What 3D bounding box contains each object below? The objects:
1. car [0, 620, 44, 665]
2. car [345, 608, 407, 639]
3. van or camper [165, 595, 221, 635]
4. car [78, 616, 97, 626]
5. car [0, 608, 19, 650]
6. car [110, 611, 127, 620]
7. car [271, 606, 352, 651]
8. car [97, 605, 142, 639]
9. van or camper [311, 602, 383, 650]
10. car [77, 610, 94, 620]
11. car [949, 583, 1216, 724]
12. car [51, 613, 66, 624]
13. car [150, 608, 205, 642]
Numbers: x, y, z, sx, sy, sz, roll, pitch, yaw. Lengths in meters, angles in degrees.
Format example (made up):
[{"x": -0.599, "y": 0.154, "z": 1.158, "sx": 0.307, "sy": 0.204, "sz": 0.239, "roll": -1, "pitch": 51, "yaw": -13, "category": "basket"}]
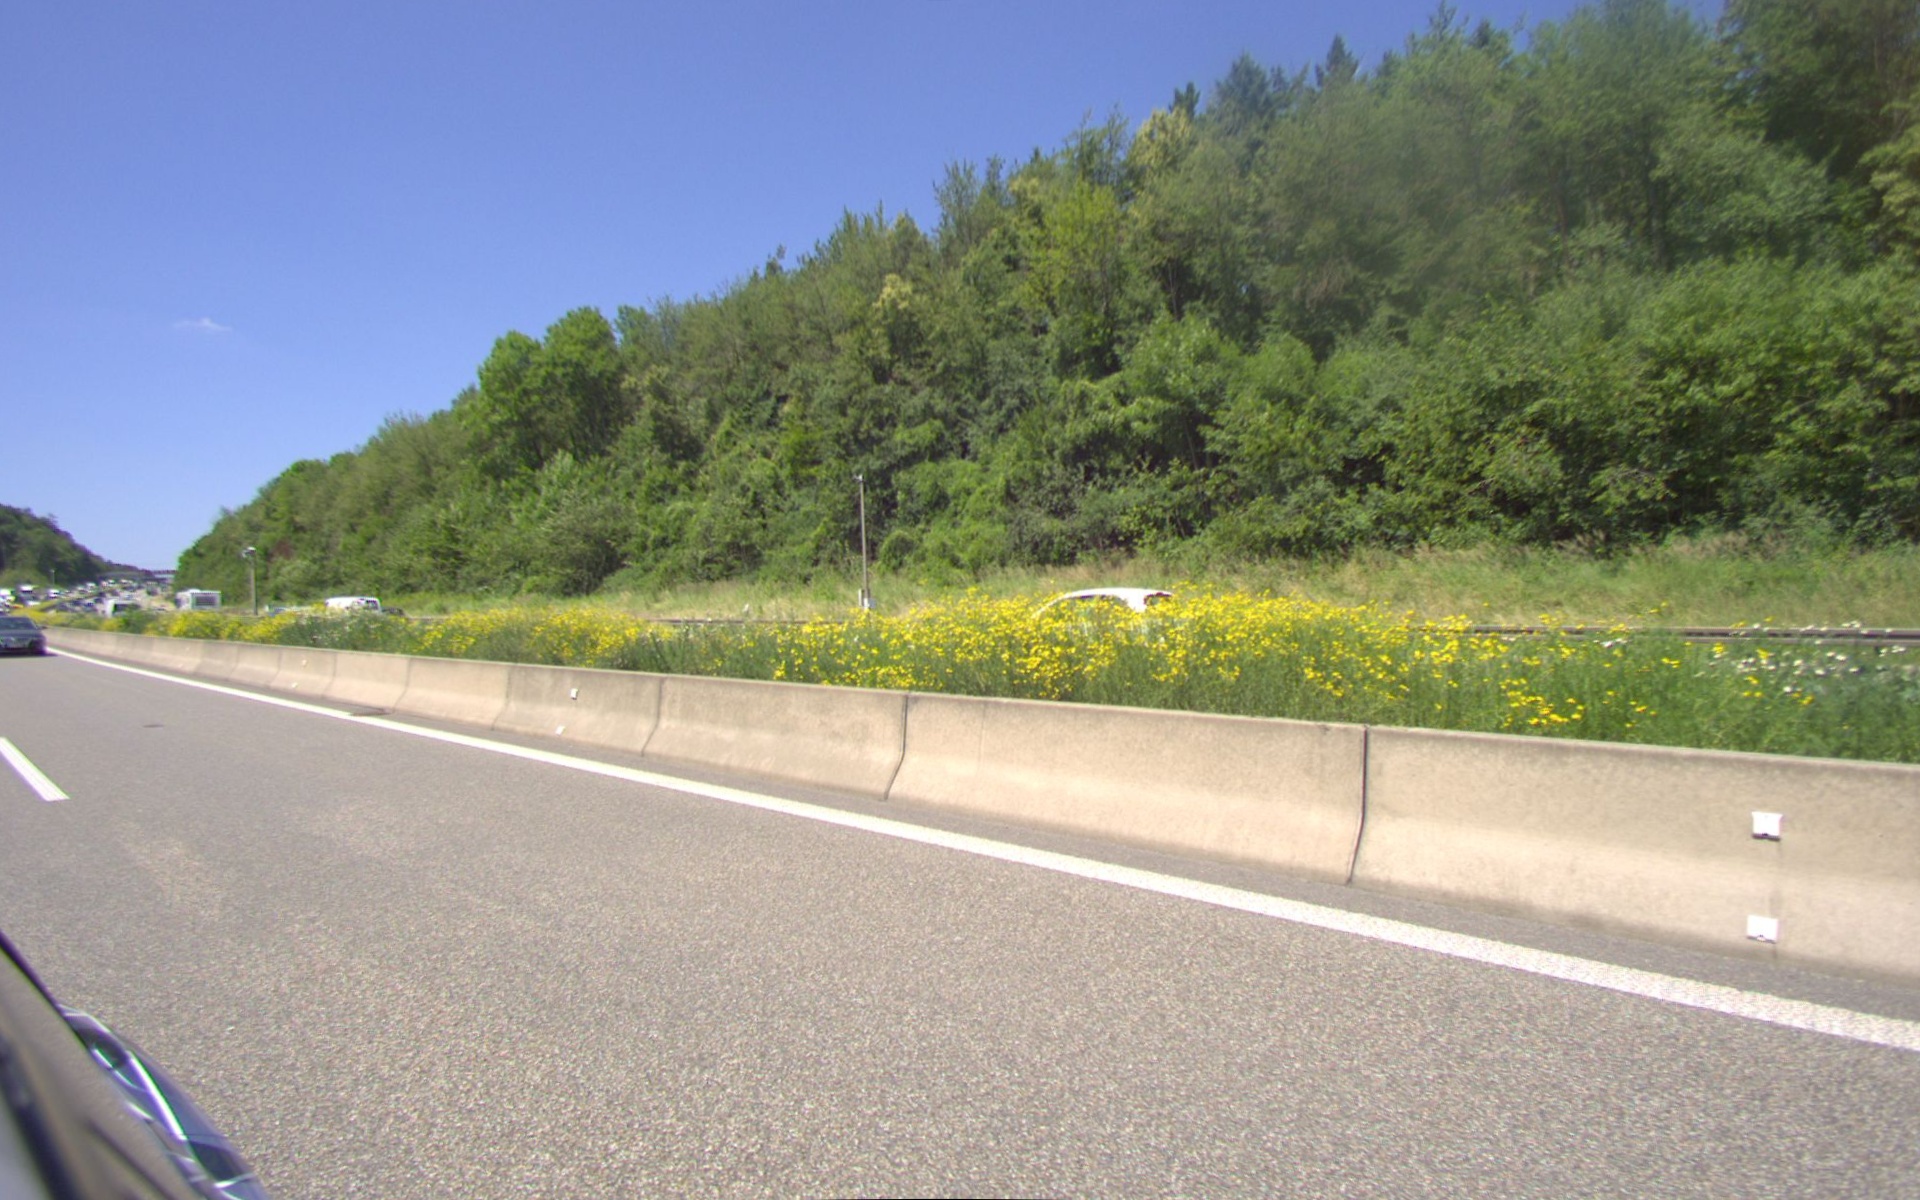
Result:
[{"x": -33.869, "y": 1.486, "z": 35.874, "sx": 3.999, "sy": 1.490, "sz": 1.698, "roll": -1, "pitch": -1, "yaw": 42, "category": "car"}, {"x": -31.065, "y": 1.227, "z": 53.780, "sx": 4.000, "sy": 1.502, "sz": 1.756, "roll": 0, "pitch": 0, "yaw": 43, "category": "car"}, {"x": -68.540, "y": 1.283, "z": 90.338, "sx": 9.003, "sy": 3.342, "sz": 2.512, "roll": 0, "pitch": 0, "yaw": 43, "category": "van or camper"}, {"x": -137.810, "y": 3.273, "z": 159.855, "sx": 4.275, "sy": 1.599, "sz": 1.971, "roll": -1, "pitch": -1, "yaw": 44, "category": "car"}, {"x": -49.267, "y": 1.446, "z": 51.275, "sx": 3.999, "sy": 2.029, "sz": 1.972, "roll": 0, "pitch": 0, "yaw": 42, "category": "car"}, {"x": -141.265, "y": 2.609, "z": 169.947, "sx": 4.002, "sy": 1.467, "sz": 1.768, "roll": 0, "pitch": 0, "yaw": 44, "category": "car"}, {"x": -24.524, "y": 1.019, "z": 38.214, "sx": 1.858, "sy": 1.576, "sz": 3.685, "roll": 0, "pitch": 0, "yaw": -44, "category": "car"}, {"x": -70.424, "y": 1.803, "z": 84.762, "sx": 5.746, "sy": 2.762, "sz": 2.176, "roll": -1, "pitch": -1, "yaw": 43, "category": "car"}, {"x": -27.189, "y": 1.137, "z": 44.836, "sx": 4.213, "sy": 2.028, "sz": 1.673, "roll": -1, "pitch": -1, "yaw": 43, "category": "van or camper"}, {"x": -159.631, "y": 2.738, "z": 184.676, "sx": 4.164, "sy": 1.602, "sz": 1.971, "roll": 0, "pitch": 0, "yaw": 44, "category": "car"}, {"x": 1.926, "y": 0.766, "z": 16.594, "sx": 3.998, "sy": 2.029, "sz": 1.858, "roll": 0, "pitch": 0, "yaw": 41, "category": "car"}, {"x": -163.070, "y": 3.356, "z": 183.088, "sx": 1.970, "sy": 2.029, "sz": 4.004, "roll": 0, "pitch": 0, "yaw": -44, "category": "car"}, {"x": -41.257, "y": 1.305, "z": 53.334, "sx": 4.081, "sy": 1.677, "sz": 1.688, "roll": 0, "pitch": 0, "yaw": 43, "category": "car"}]
